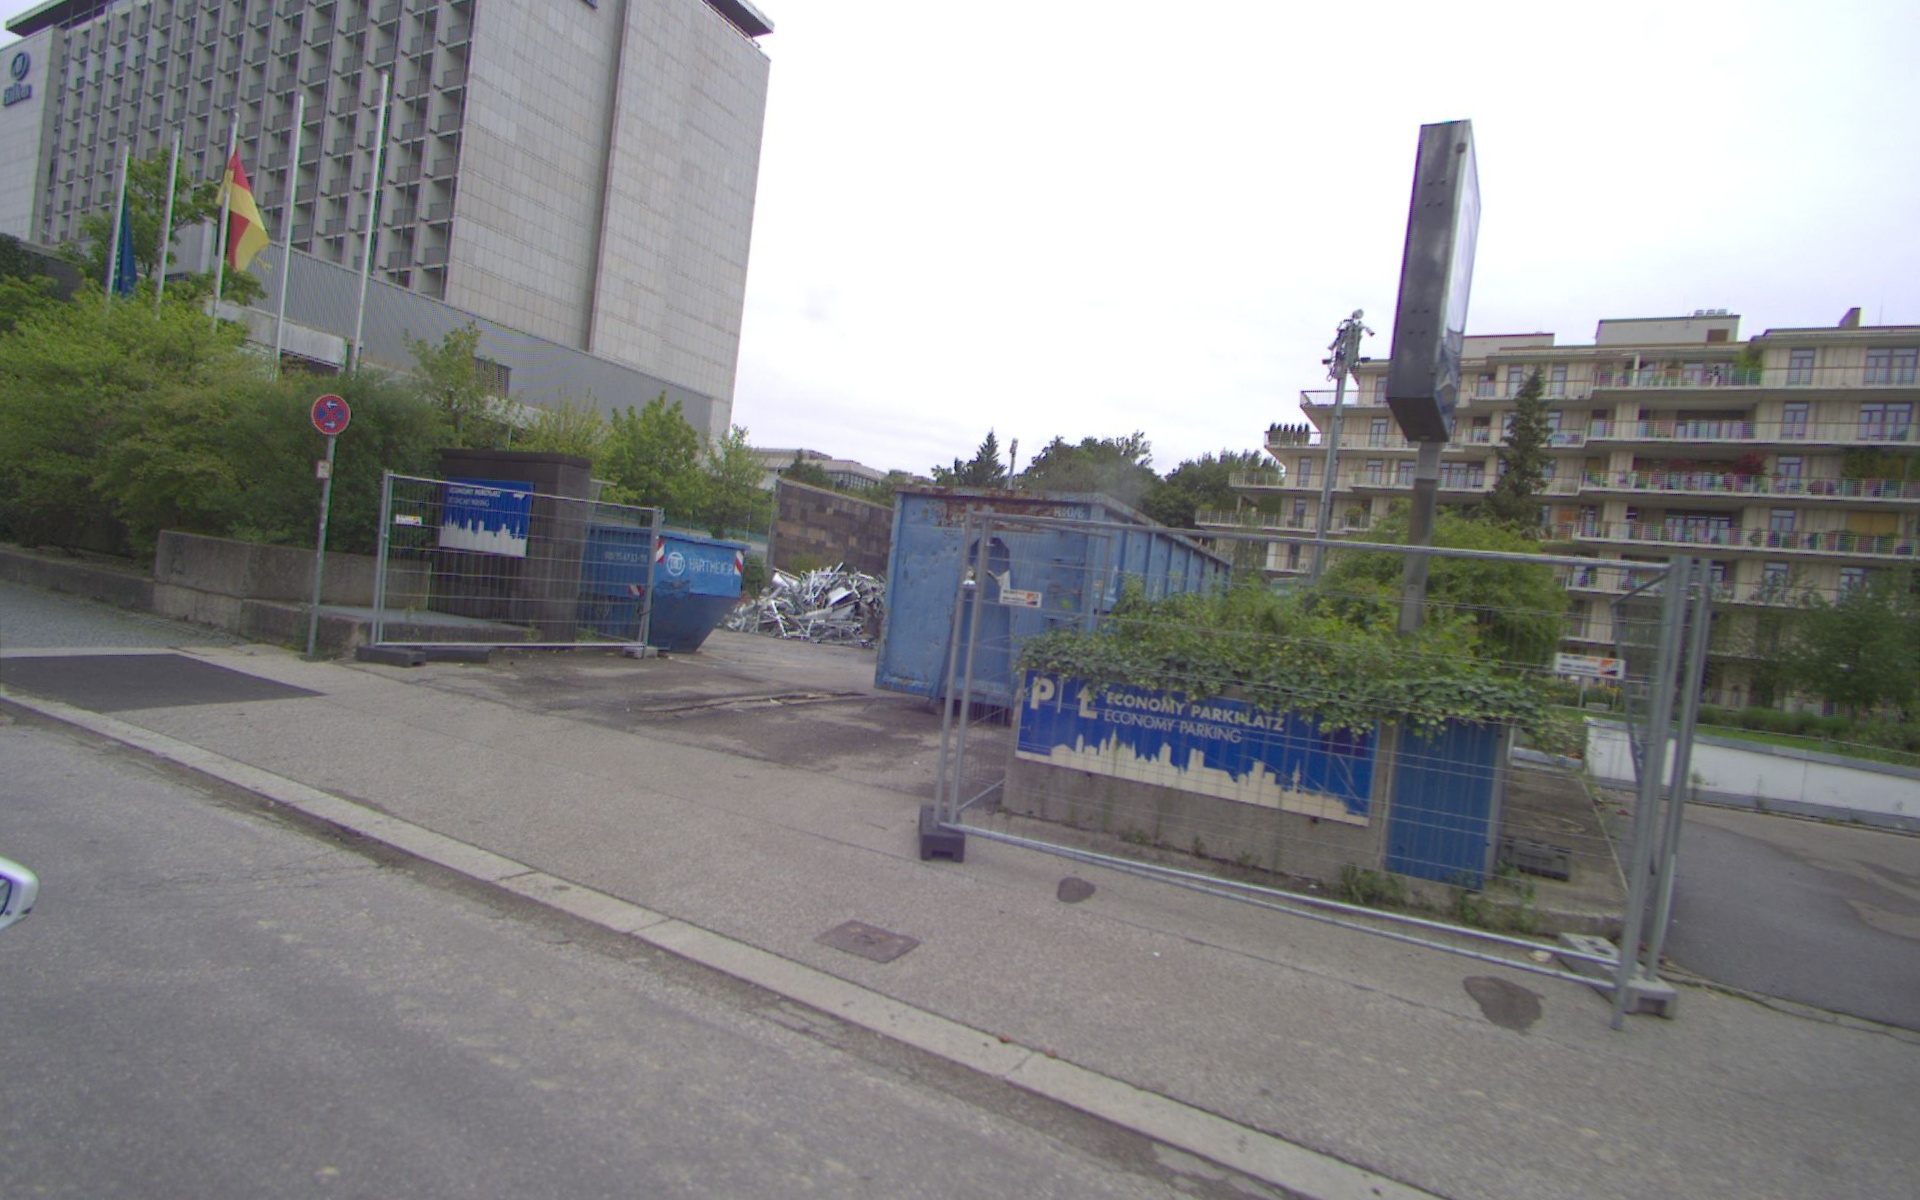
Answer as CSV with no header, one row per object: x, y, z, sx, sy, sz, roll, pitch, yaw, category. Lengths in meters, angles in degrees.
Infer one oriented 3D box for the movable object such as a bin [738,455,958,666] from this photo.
-2.242,-0.809,23.525,3.819,3.730,7.174,7,1,1,movable object such as a bin
